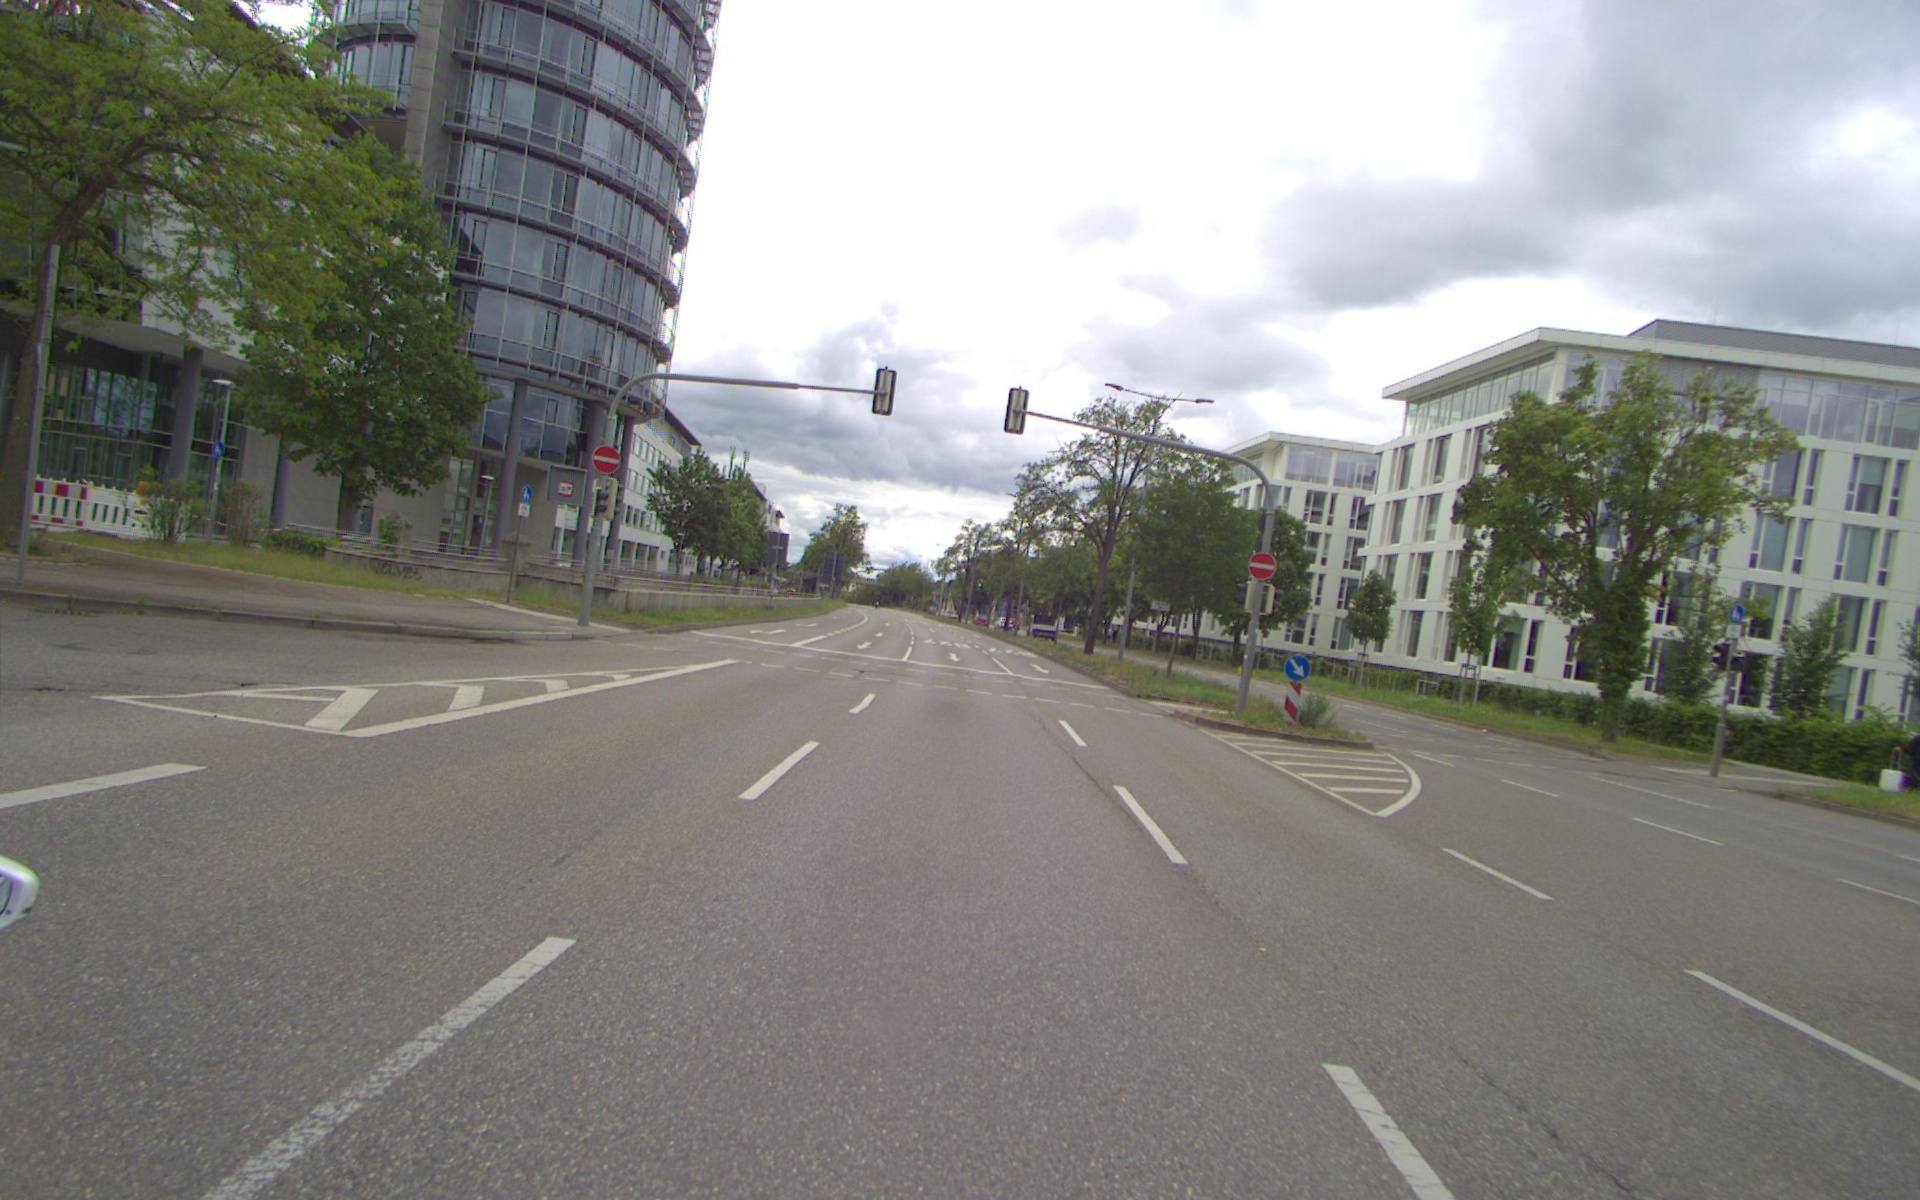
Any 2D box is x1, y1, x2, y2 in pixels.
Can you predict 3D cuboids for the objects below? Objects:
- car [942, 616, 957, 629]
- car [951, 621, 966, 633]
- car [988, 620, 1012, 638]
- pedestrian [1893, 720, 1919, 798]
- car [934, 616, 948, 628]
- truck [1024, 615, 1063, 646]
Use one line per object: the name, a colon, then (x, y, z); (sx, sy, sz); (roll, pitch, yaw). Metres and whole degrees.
car: (-1.685, 3.580, 157.124); (1.965, 1.668, 4.001); (10, -2, -3)
car: (-0.312, 4.908, 183.526); (1.966, 1.887, 3.999); (10, -2, -5)
car: (4.587, 3.266, 115.135); (1.846, 1.692, 3.883); (10, -2, -8)
pedestrian: (21.159, 3.525, 21.992); (0.721, 1.644, 1.034); (9, -2, 30)
car: (-3.319, 3.745, 171.427); (1.965, 1.668, 4.001); (10, -2, -4)
truck: (7.689, 2.797, 92.886); (2.519, 2.402, 4.589); (10, -2, -4)
